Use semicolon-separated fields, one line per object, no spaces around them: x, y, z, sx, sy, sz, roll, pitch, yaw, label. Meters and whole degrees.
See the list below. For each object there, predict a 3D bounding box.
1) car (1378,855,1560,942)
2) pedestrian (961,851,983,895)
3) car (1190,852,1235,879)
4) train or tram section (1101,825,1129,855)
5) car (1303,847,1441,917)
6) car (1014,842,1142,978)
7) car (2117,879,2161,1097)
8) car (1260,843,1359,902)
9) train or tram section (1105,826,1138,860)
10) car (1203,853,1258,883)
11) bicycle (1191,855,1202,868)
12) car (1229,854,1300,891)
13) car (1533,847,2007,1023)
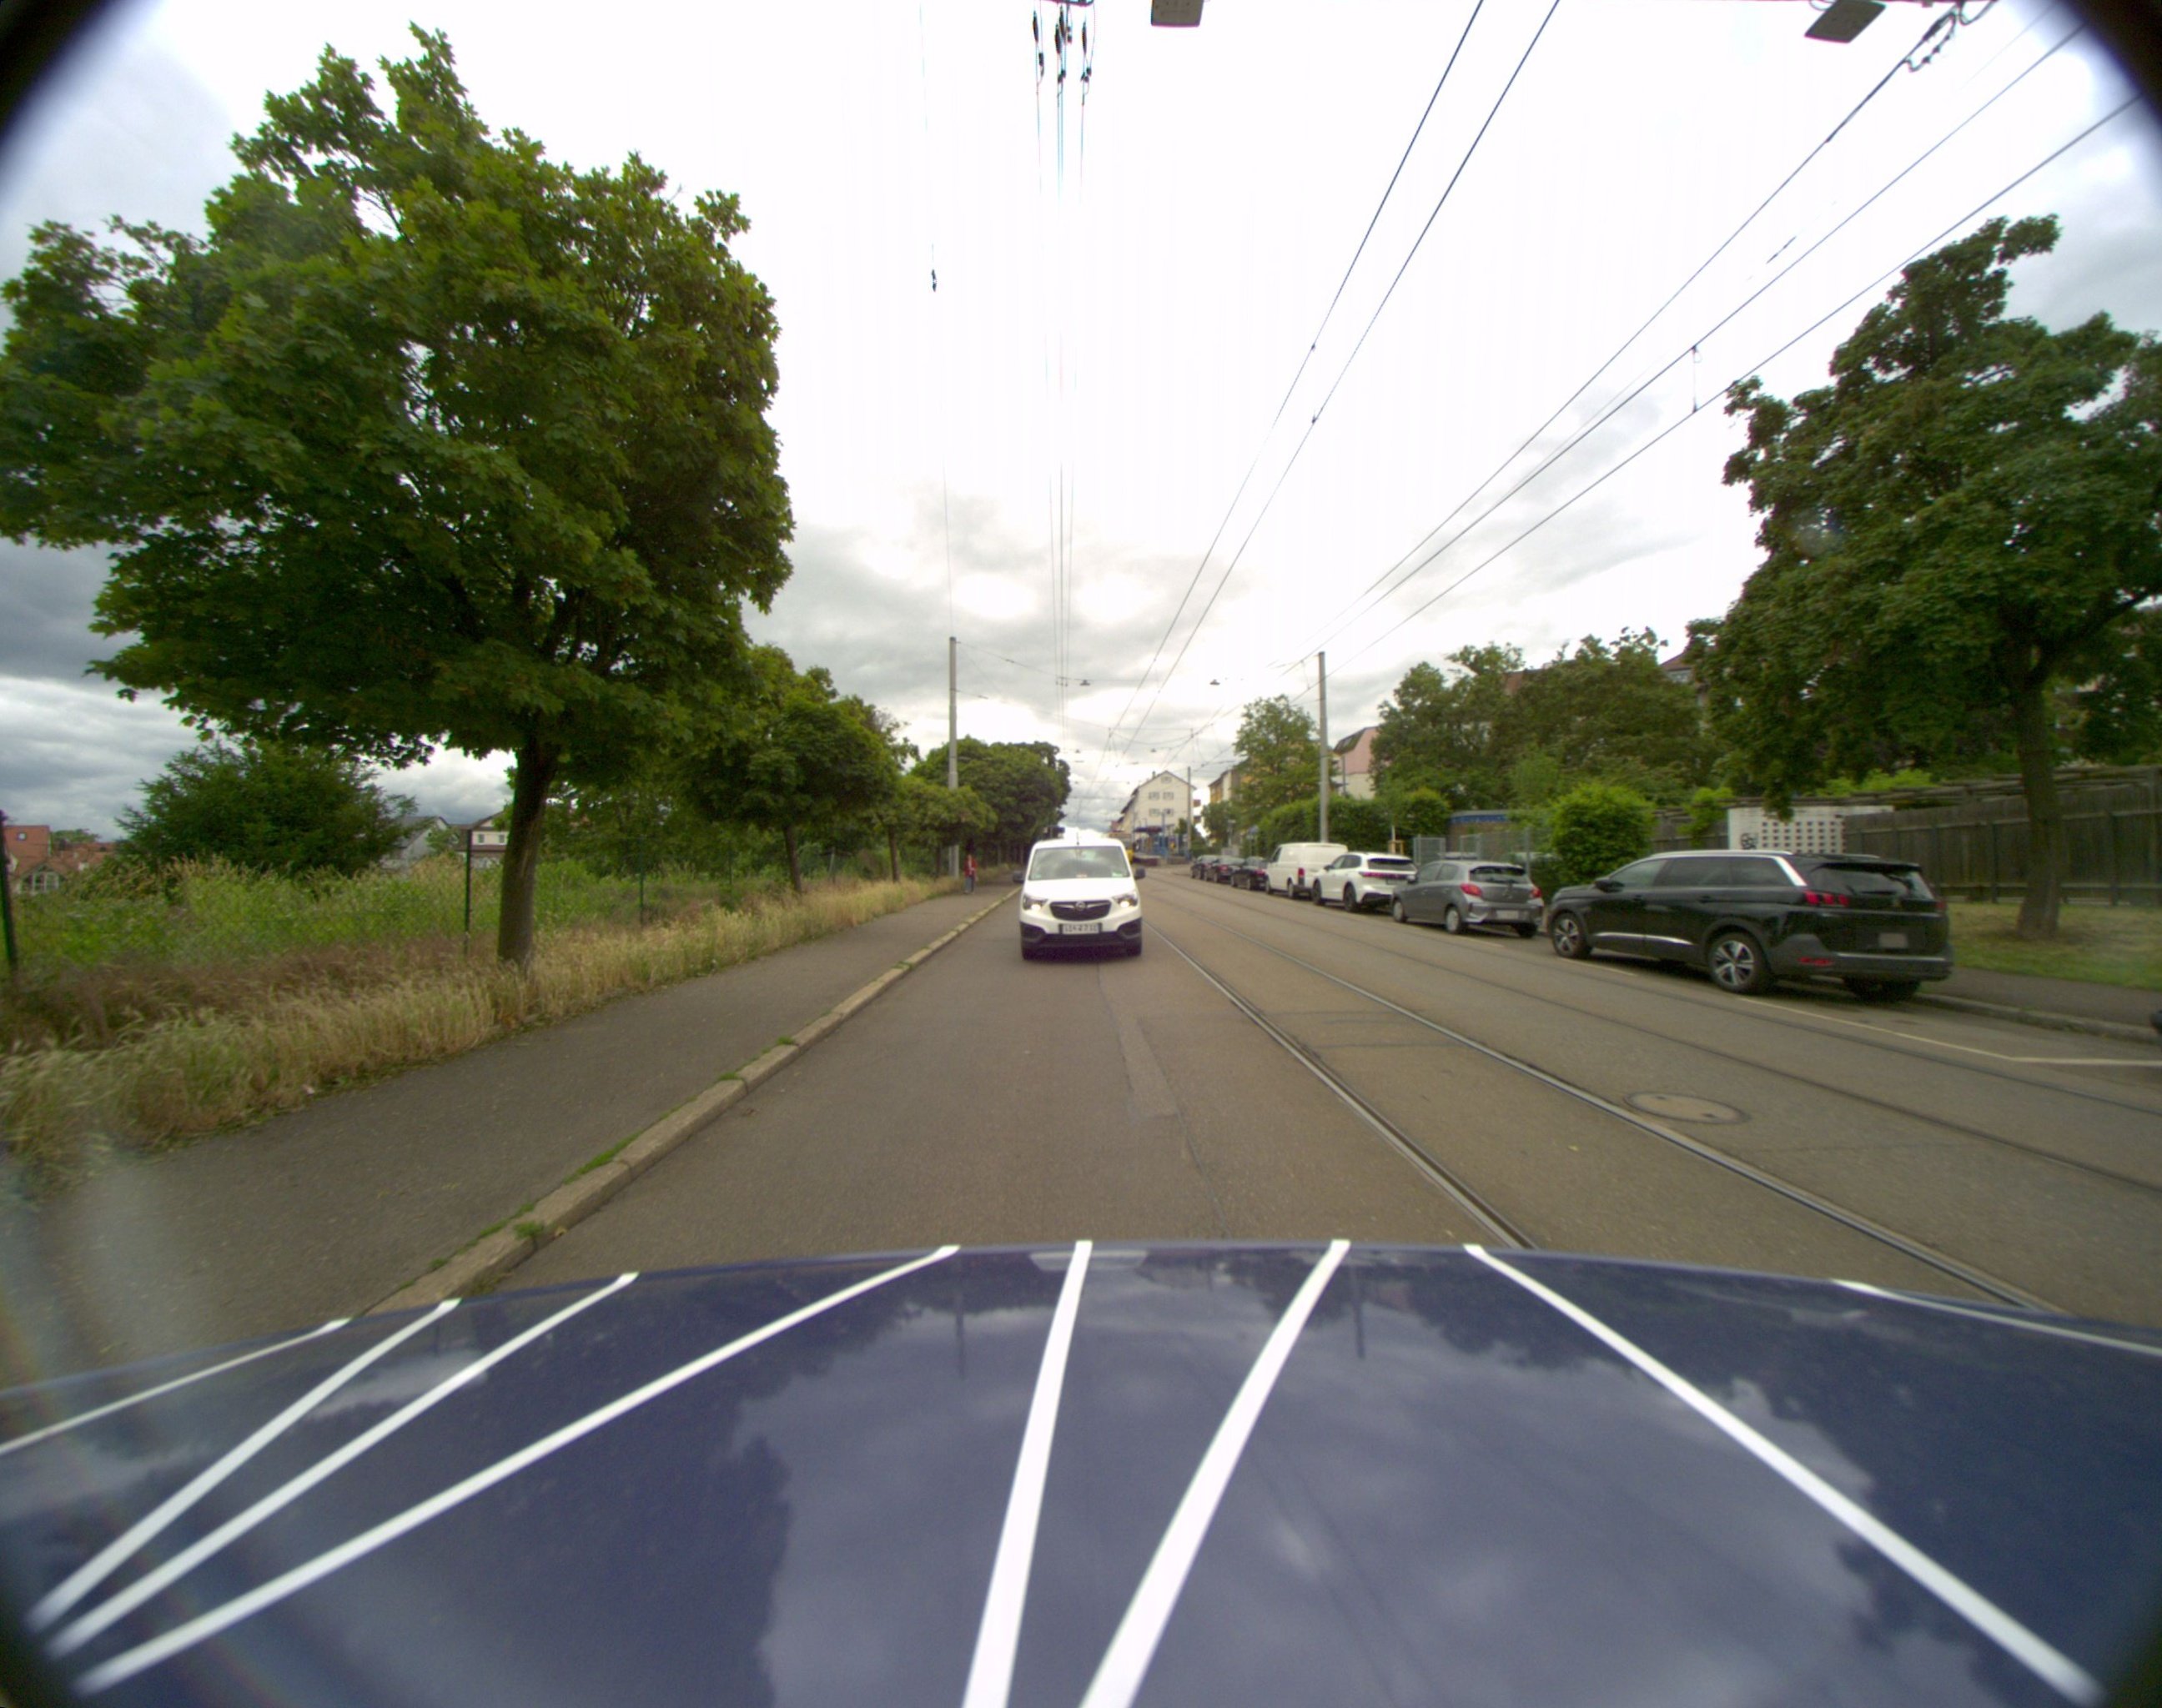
7.951;0.823;16.007;1.743;1.500;3.867;0;2;-2;car
-4.111;0.701;28.731;0.716;1.611;0.718;-1;1;0;pedestrian
7.713;0.628;44.989;1.795;1.396;4.159;0;2;-2;car
4.271;-1.811;99.151;2.831;3.616;12.126;-1;1;-1;train or tram section
7.982;0.695;21.417;1.974;1.677;4.631;0;2;-2;car
-0.021;0.744;12.612;1.730;1.850;4.420;-1;1;0;car
8.206;0.966;3.300;1.625;1.469;4.154;0;2;-2;car
8.027;0.572;27.242;1.974;1.902;4.732;0;2;-2;car
4.505;-1.239;87.018;2.857;3.616;12.126;-1;1;-1;train or tram section
7.634;0.672;39.240;1.845;1.379;4.438;0;2;-2;car
10.636;0.664;69.938;0.713;1.174;1.487;0;2;0;bicycle
7.801;0.743;32.804;1.845;1.379;4.516;0;2;-2;car
8.211;0.797;9.820;1.974;1.677;4.442;0;2;-2;car
